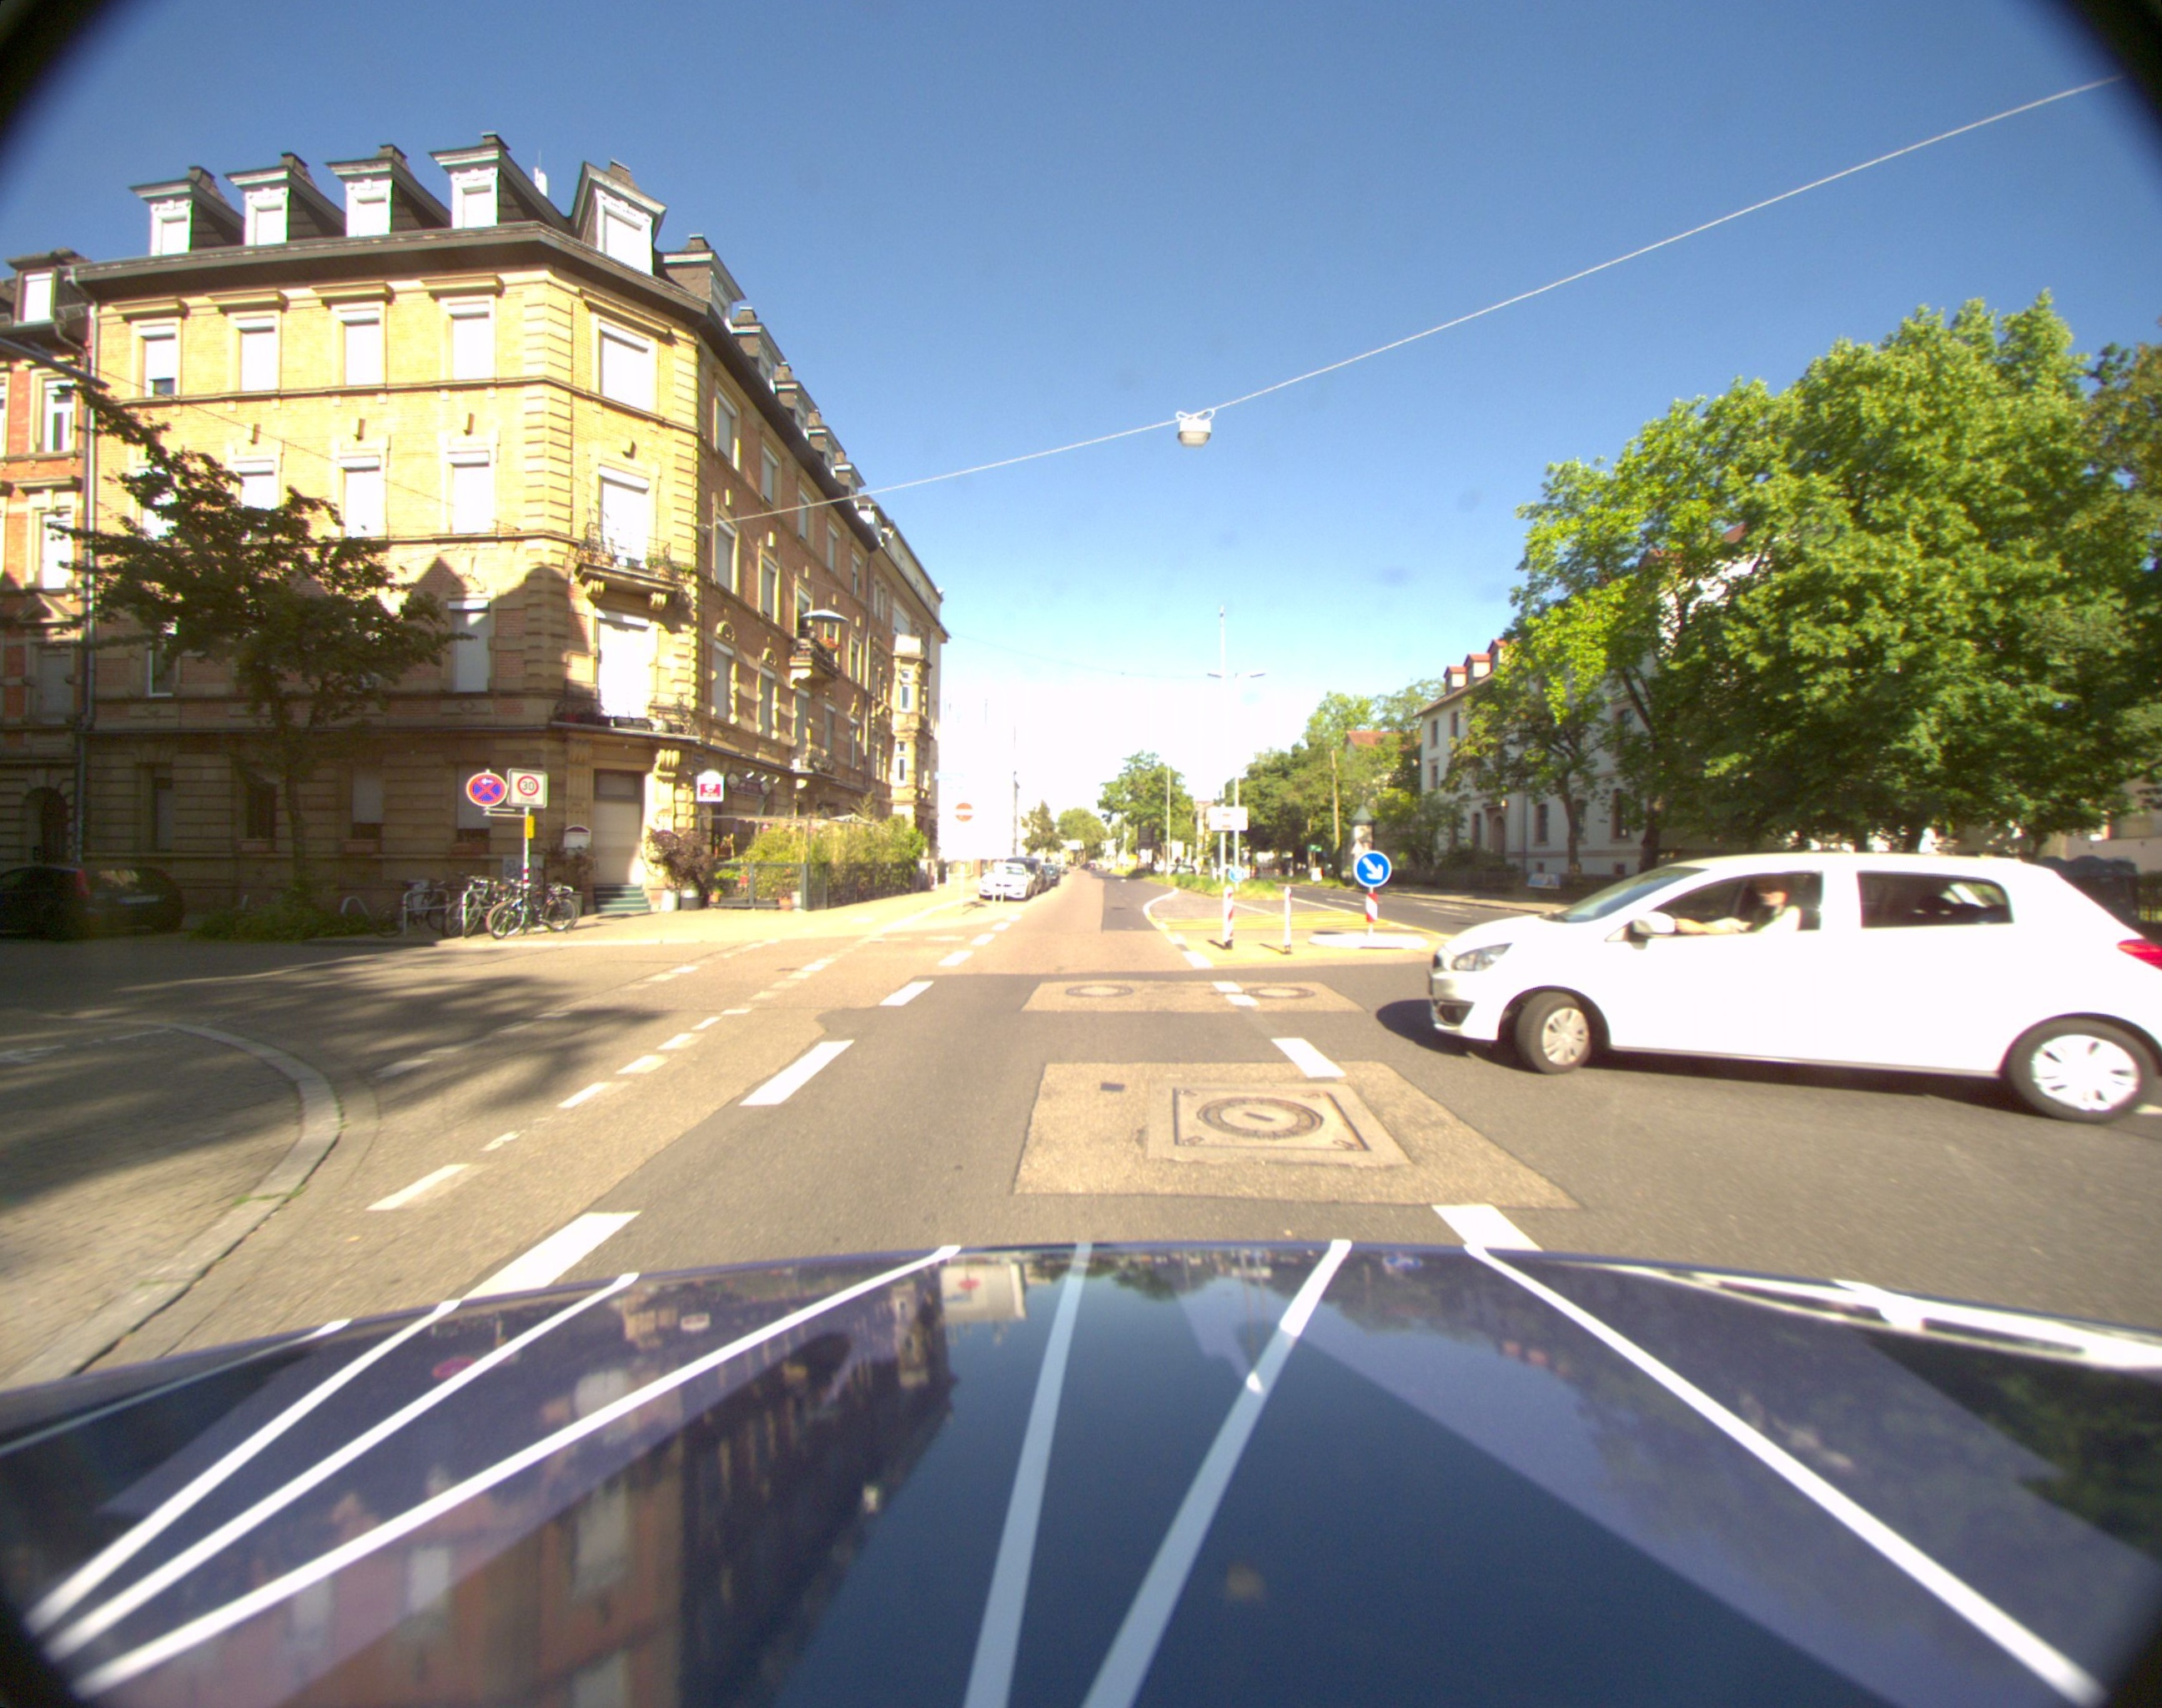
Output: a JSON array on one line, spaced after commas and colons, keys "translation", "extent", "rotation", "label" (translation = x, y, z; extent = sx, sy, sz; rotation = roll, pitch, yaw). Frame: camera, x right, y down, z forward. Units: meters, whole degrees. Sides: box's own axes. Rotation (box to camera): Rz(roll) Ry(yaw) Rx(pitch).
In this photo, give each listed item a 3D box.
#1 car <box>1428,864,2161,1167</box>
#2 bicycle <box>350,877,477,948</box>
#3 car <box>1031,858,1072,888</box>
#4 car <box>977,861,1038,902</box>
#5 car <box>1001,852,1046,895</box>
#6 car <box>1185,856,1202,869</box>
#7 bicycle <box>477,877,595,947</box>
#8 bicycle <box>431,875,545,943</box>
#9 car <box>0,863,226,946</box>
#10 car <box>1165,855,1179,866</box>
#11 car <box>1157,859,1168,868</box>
[{"translation": [4.576, 0.854, 5.265], "extent": [3.886, 1.449, 1.657], "rotation": [1, 0, 26], "label": "car"}, {"translation": [-12.511, 1.055, 14.331], "extent": [0.584, 1.128, 2.018], "rotation": [2, 2, 1], "label": "bicycle"}, {"translation": [-1.690, 1.069, 45.061], "extent": [1.892, 1.678, 4.701], "rotation": [0, 0, 4], "label": "car"}, {"translation": [-2.835, 1.036, 30.228], "extent": [1.846, 1.432, 4.107], "rotation": [3, 0, 2], "label": "car"}, {"translation": [-2.653, 0.895, 35.560], "extent": [1.693, 1.862, 3.562], "rotation": [1, 0, 2], "label": "car"}, {"translation": [13.889, 1.035, 94.022], "extent": [1.594, 1.420, 3.717], "rotation": [2, 1, 2], "label": "car"}, {"translation": [-10.217, 1.046, 14.346], "extent": [0.735, 1.128, 2.018], "rotation": [0, 2, 1], "label": "bicycle"}, {"translation": [-11.329, 1.016, 14.614], "extent": [0.584, 1.128, 2.019], "rotation": [2, 1, 0], "label": "bicycle"}, {"translation": [-20.064, 0.943, 15.183], "extent": [3.932, 1.409, 2.048], "rotation": [2, 0, 7], "label": "car"}, {"translation": [12.926, 0.958, 108.016], "extent": [1.594, 1.420, 3.717], "rotation": [2, 1, 2], "label": "car"}, {"translation": [13.512, 1.619, 126.322], "extent": [1.594, 1.420, 3.717], "rotation": [2, 1, 2], "label": "car"}]
